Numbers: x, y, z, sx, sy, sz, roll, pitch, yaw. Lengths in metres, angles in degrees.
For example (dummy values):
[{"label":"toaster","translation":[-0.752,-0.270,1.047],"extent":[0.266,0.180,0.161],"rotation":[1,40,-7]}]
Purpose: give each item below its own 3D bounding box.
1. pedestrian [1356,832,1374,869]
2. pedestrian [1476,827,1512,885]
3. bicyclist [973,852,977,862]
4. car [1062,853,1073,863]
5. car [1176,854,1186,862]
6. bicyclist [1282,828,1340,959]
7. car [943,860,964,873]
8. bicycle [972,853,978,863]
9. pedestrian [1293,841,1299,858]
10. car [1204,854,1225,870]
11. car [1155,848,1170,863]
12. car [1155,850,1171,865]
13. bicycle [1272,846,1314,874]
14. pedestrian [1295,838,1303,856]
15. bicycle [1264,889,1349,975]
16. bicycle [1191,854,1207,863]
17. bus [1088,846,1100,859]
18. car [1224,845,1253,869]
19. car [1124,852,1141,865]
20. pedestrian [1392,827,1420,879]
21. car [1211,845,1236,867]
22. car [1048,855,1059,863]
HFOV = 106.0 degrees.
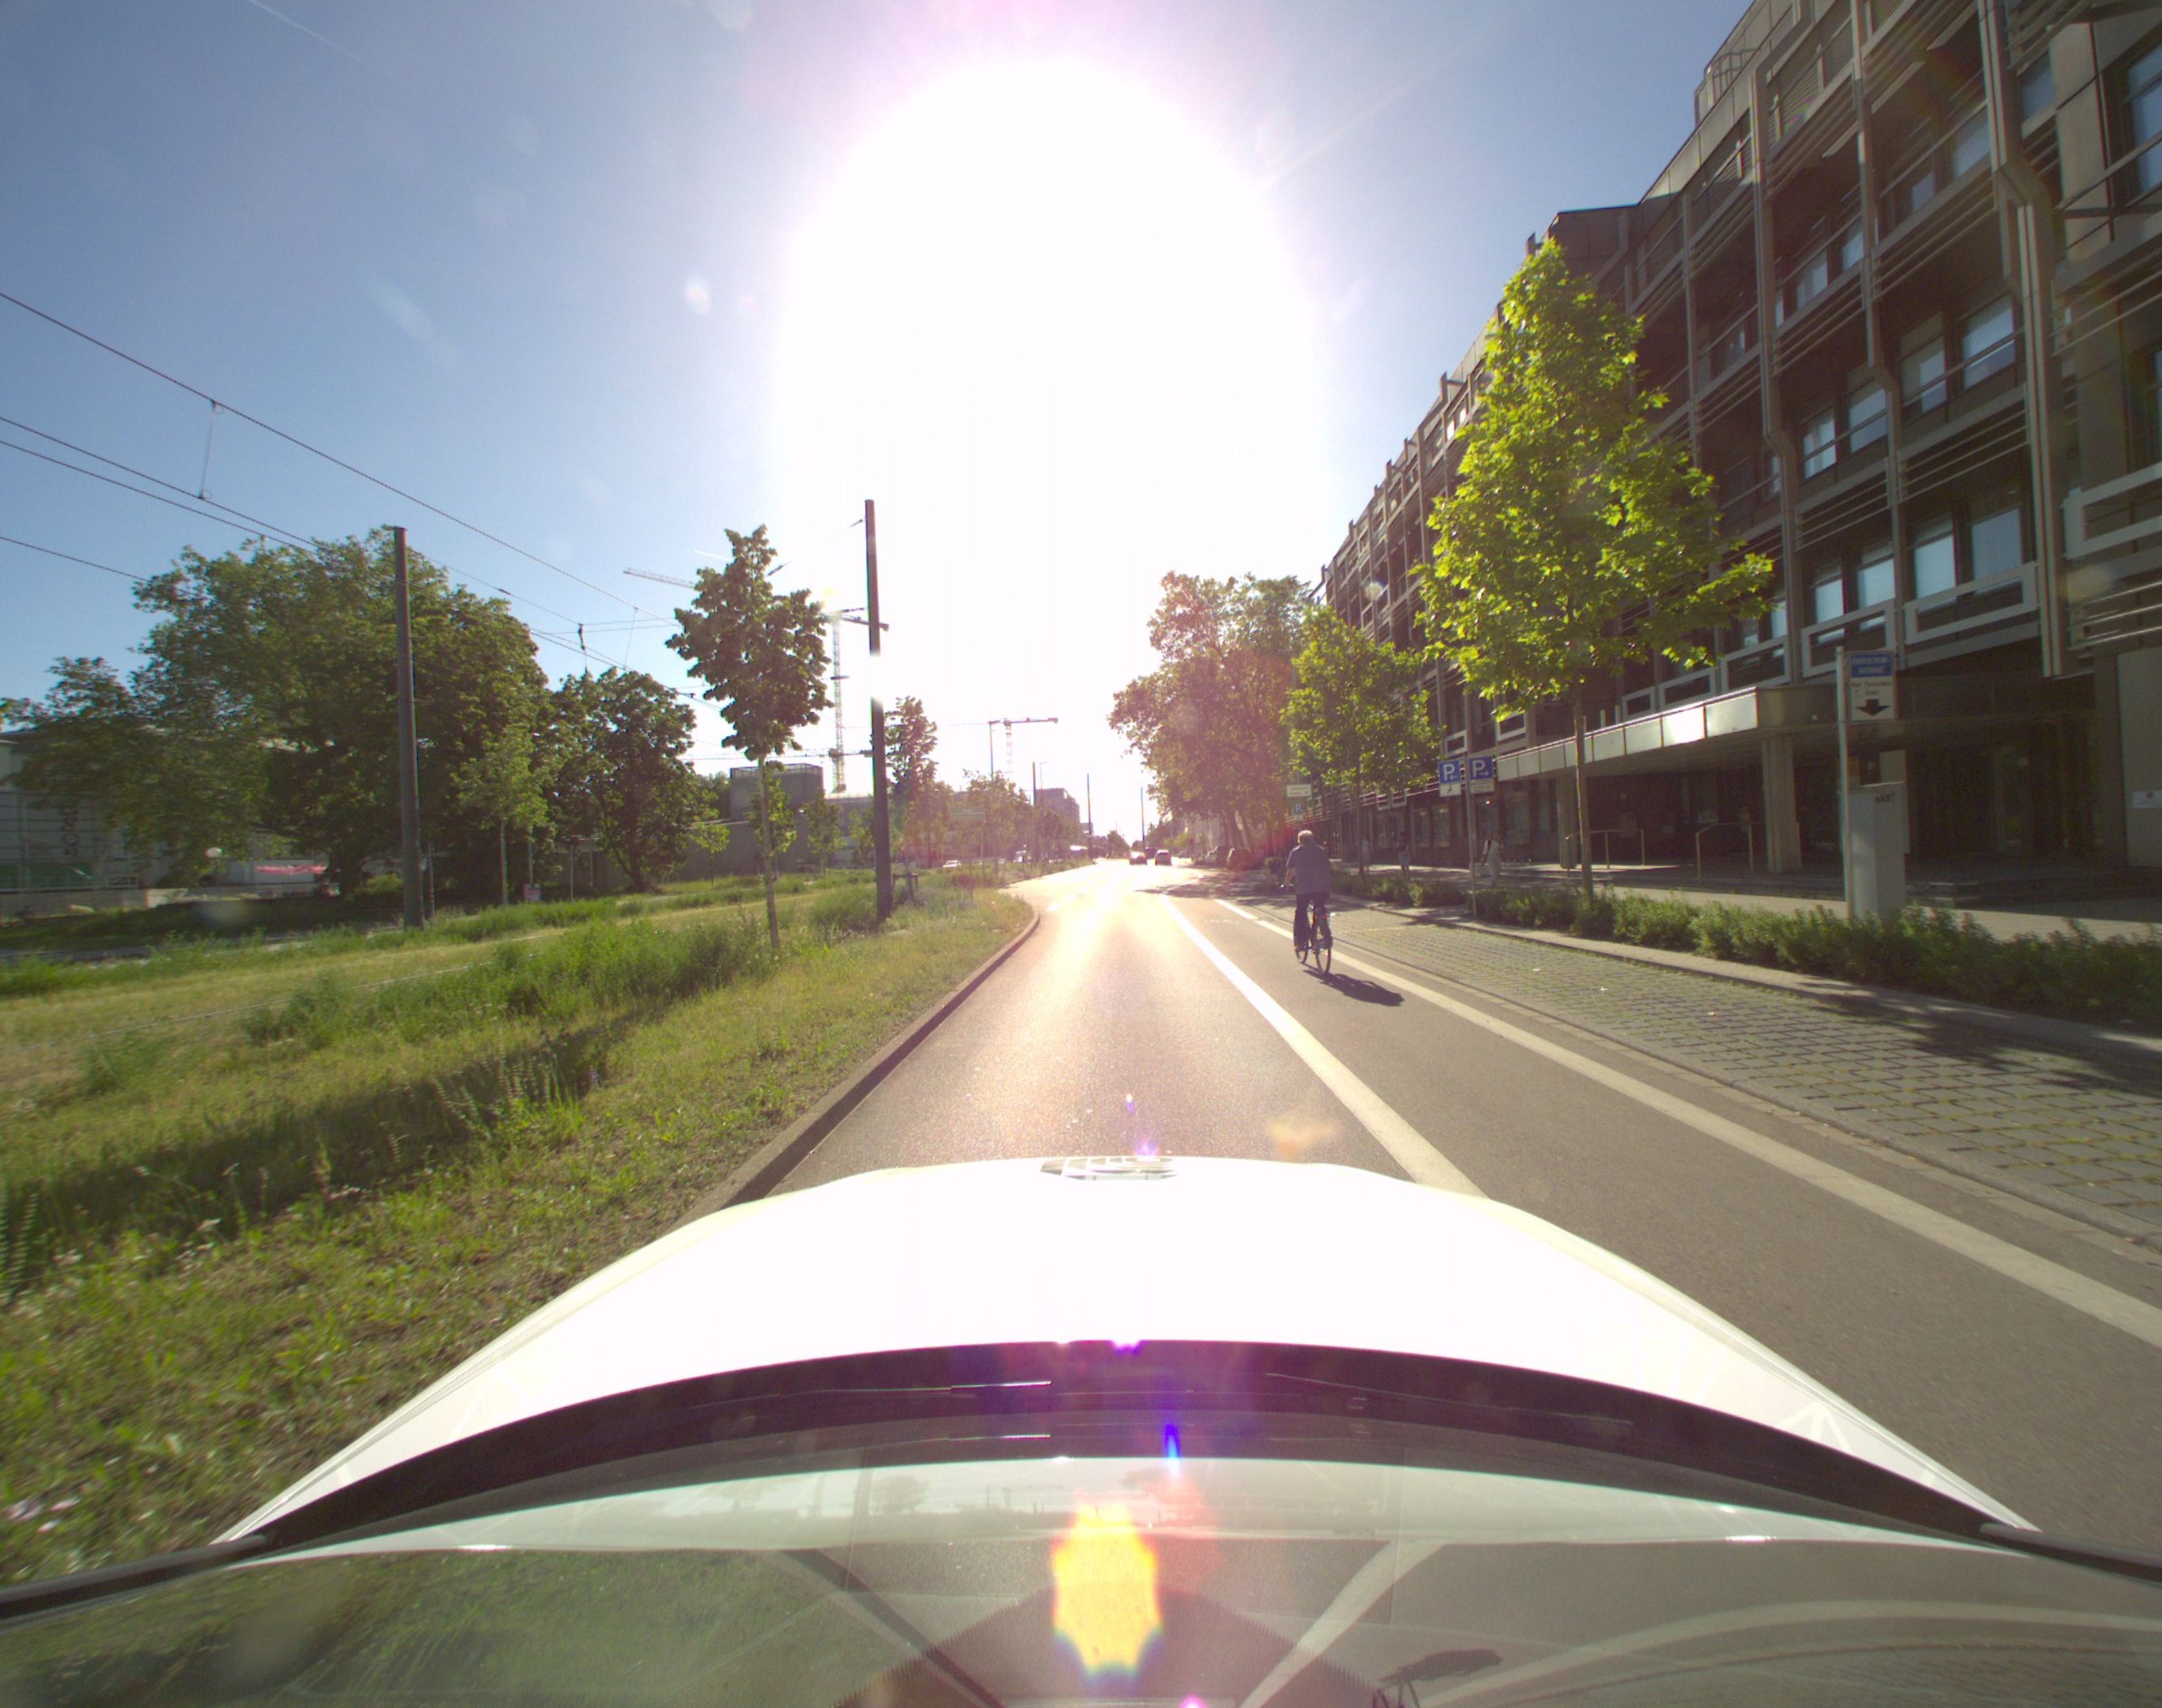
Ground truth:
[{"label":"pedestrian","translation":[13.451,-0.148,38.571],"extent":[0.508,1.700,0.775],"rotation":[-5,0,4]},{"label":"pedestrian","translation":[10.857,0.049,21.409],"extent":[0.508,1.474,0.737],"rotation":[-4,0,4]},{"label":"bicyclist","translation":[-16.389,0.475,125.957],"extent":[0.392,1.454,0.540],"rotation":[-1,0,4]},{"label":"car","translation":[-2.665,0.806,157.979],"extent":[1.889,1.816,4.001],"rotation":[-1,-1,2]},{"label":"car","translation":[19.507,0.792,158.847],"extent":[1.655,1.649,3.704],"rotation":[-1,-1,3]},{"label":"bicyclist","translation":[2.918,0.486,10.359],"extent":[0.511,1.601,0.536],"rotation":[-3,0,0]},{"label":"car","translation":[-15.032,1.509,96.191],"extent":[1.626,1.398,3.836],"rotation":[-2,0,3]},{"label":"bicycle","translation":[-16.407,0.643,125.968],"extent":[0.358,1.455,1.916],"rotation":[-2,0,5]},{"label":"pedestrian","translation":[19.191,-0.400,72.572],"extent":[0.314,1.584,0.501],"rotation":[-2,0,-4]},{"label":"car","translation":[13.807,0.848,84.317],"extent":[1.696,1.492,4.607],"rotation":[-2,0,5]},{"label":"car","translation":[10.710,0.189,106.865],"extent":[1.714,1.782,4.190],"rotation":[-2,0,3]},{"label":"car","translation":[9.463,0.398,93.625],"extent":[1.713,1.618,4.194],"rotation":[-2,0,6]},{"label":"bicycle","translation":[10.935,0.308,42.015],"extent":[1.930,1.236,0.579],"rotation":[-5,0,1]},{"label":"pedestrian","translation":[19.407,-0.651,72.483],"extent":[0.551,1.603,0.574],"rotation":[-2,0,5]},{"label":"bicycle","translation":[2.896,0.964,10.652],"extent":[0.496,0.906,2.196],"rotation":[-1,0,0]},{"label":"bicycle","translation":[13.502,0.511,92.872],"extent":[1.687,0.957,0.478],"rotation":[-4,0,0]},{"label":"bus","translation":[3.292,-0.346,206.190],"extent":[2.617,2.959,9.904],"rotation":[-1,-1,2]},{"label":"car","translation":[11.650,0.170,60.487],"extent":[1.695,1.643,4.645],"rotation":[-2,0,7]},{"label":"car","translation":[6.154,0.549,97.390],"extent":[1.903,1.486,4.014],"rotation":[-2,0,4]},{"label":"pedestrian","translation":[11.157,-0.033,27.976],"extent":[0.644,1.728,0.804],"rotation":[-2,0,4]},{"label":"car","translation":[12.544,0.176,71.874],"extent":[1.696,1.790,4.198],"rotation":[-4,0,5]},{"label":"car","translation":[-4.375,0.797,129.450],"extent":[1.370,1.178,3.224],"rotation":[-1,-1,4]}]
